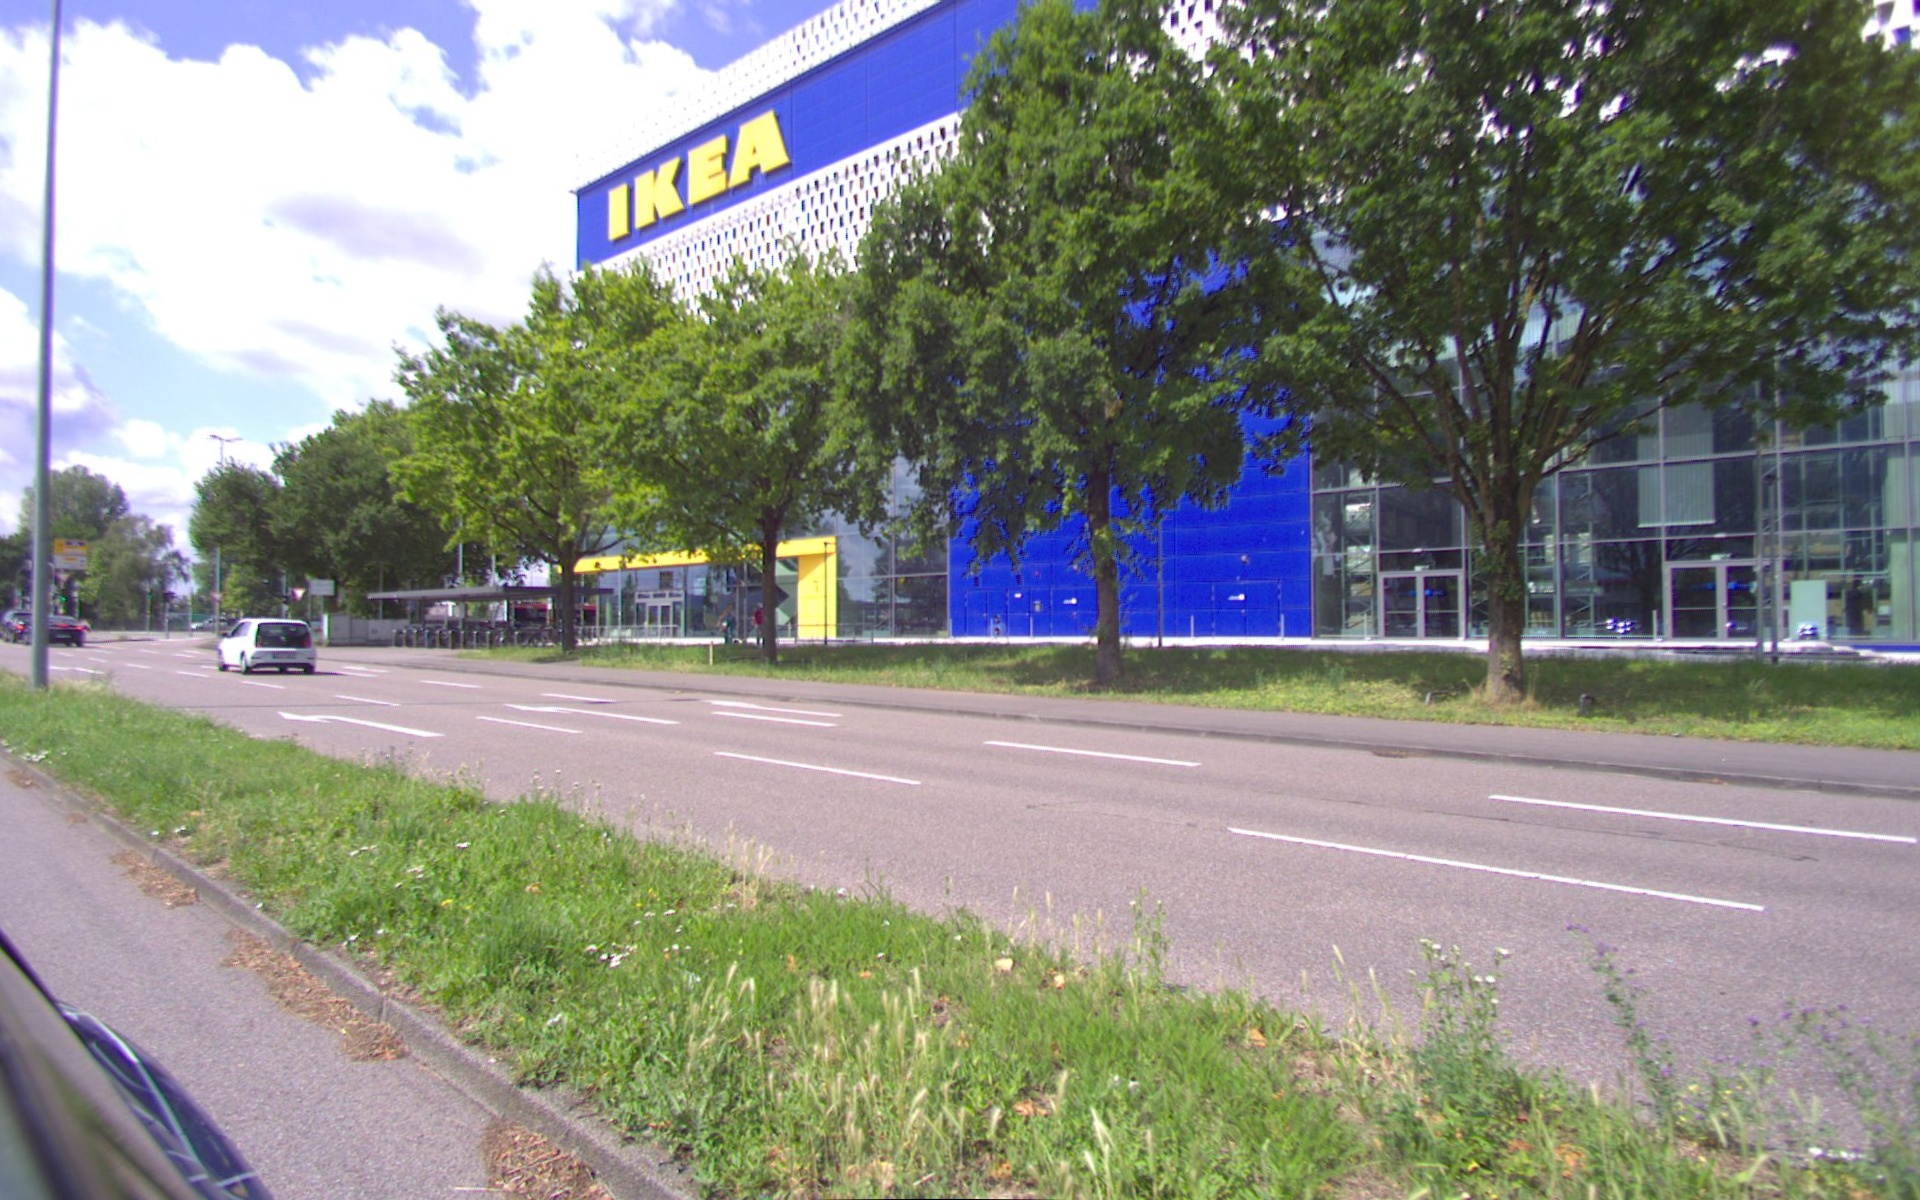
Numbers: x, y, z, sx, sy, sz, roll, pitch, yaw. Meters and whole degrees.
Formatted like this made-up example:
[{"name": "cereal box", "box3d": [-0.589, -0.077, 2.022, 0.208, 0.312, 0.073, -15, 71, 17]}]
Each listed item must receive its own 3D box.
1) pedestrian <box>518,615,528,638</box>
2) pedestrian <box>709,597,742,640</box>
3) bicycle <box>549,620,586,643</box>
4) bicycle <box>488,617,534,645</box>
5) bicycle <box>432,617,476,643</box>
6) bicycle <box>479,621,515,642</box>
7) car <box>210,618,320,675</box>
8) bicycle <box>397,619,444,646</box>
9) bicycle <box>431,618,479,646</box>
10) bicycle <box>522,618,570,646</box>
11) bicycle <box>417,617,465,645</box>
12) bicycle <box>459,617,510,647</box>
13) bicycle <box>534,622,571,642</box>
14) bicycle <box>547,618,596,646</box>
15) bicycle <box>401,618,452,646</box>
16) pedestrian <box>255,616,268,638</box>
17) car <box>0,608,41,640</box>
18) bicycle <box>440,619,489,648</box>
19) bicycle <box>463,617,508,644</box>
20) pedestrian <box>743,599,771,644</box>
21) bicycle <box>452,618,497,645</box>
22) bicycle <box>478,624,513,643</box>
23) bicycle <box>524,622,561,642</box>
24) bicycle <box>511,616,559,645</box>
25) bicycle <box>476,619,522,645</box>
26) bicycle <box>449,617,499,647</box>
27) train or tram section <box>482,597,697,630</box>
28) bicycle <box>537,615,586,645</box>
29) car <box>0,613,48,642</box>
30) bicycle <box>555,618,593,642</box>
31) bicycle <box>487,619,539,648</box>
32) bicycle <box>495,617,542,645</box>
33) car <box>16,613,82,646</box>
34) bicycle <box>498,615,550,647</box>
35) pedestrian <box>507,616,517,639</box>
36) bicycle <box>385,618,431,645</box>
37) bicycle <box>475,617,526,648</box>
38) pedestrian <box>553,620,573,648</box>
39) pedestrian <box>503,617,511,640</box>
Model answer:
[{"name": "pedestrian", "box3d": [-32.255, 1.948, 74.734, 0.408, 1.716, 0.522, -2, -2, 31]}, {"name": "pedestrian", "box3d": [-9.361, 0.726, 40.326, 0.886, 1.715, 0.940, -1, -1, 41]}, {"name": "bicycle", "box3d": [-21.511, 1.696, 55.462, 0.528, 1.219, 1.916, -1, -1, 36]}, {"name": "bicycle", "box3d": [-21.040, 1.460, 47.427, 0.629, 1.282, 1.905, -2, -2, 40]}, {"name": "bicycle", "box3d": [-25.640, 1.496, 51.276, 0.629, 1.282, 1.905, -2, -2, 40]}, {"name": "bicycle", "box3d": [-26.887, 1.826, 58.842, 0.467, 1.181, 1.938, -2, -2, 36]}, {"name": "car", "box3d": [-18.876, 1.225, 27.444, 3.669, 1.440, 1.625, -1, -3, 42]}, {"name": "bicycle", "box3d": [-25.999, 1.546, 48.748, 0.629, 1.282, 1.905, -2, -2, 40]}, {"name": "bicycle", "box3d": [-23.196, 1.464, 46.515, 0.629, 1.282, 1.905, -2, -2, 40]}, {"name": "bicycle", "box3d": [-18.313, 1.415, 44.784, 0.629, 1.188, 1.905, -2, -2, 40]}, {"name": "bicycle", "box3d": [-24.231, 1.447, 47.288, 0.629, 1.282, 1.905, -2, -2, 40]}, {"name": "bicycle", "box3d": [-20.671, 1.386, 44.012, 0.629, 1.282, 1.905, -2, -2, 40]}, {"name": "bicycle", "box3d": [-22.700, 1.773, 56.432, 0.528, 1.078, 1.916, -1, -1, 36]}, {"name": "bicycle", "box3d": [-16.676, 1.373, 43.505, 0.629, 1.193, 1.905, -2, -2, 40]}, {"name": "bicycle", "box3d": [-25.278, 1.521, 47.997, 0.629, 1.282, 2.068, -2, -2, 40]}, {"name": "pedestrian", "box3d": [-47.886, 1.818, 69.370, 0.616, 1.501, 0.435, -1, -1, 24]}, {"name": "car", "box3d": [-53.714, 1.343, 57.424, 3.997, 1.627, 1.752, 1, -3, 40]}, {"name": "bicycle", "box3d": [-22.394, 1.511, 45.784, 0.629, 1.282, 1.905, -2, -2, 40]}, {"name": "bicycle", "box3d": [-22.909, 1.460, 48.894, 0.629, 1.282, 1.905, -2, -2, 40]}, {"name": "pedestrian", "box3d": [-8.409, 0.872, 41.922, 0.886, 1.836, 0.746, -1, -1, 41]}, {"name": "bicycle", "box3d": [-23.873, 1.527, 49.800, 0.629, 1.282, 1.905, -2, -2, 40]}, {"name": "bicycle", "box3d": [-27.443, 1.955, 59.825, 0.528, 1.078, 1.917, 0, -1, 35]}, {"name": "bicycle", "box3d": [-23.498, 1.788, 56.983, 0.519, 1.098, 1.912, -2, -2, 36]}, {"name": "bicycle", "box3d": [-19.213, 1.358, 45.769, 0.629, 1.282, 1.905, -2, -2, 40]}, {"name": "bicycle", "box3d": [-21.853, 1.489, 48.016, 0.629, 1.192, 1.905, -2, -2, 40]}, {"name": "bicycle", "box3d": [-21.624, 1.404, 45.040, 0.629, 1.282, 1.905, -2, -2, 40]}, {"name": "train or tram section", "box3d": [-42.349, 1.708, 118.149, 4.525, 3.055, 24.800, -1, -3, 39]}, {"name": "bicycle", "box3d": [-17.386, 1.288, 44.189, 0.629, 1.282, 1.905, -2, -2, 40]}, {"name": "car", "box3d": [-48.043, 1.385, 51.828, 4.094, 1.402, 1.397, 0, -3, 41]}, {"name": "bicycle", "box3d": [-20.995, 1.628, 55.023, 0.596, 1.253, 1.927, -1, -1, 36]}, {"name": "bicycle", "box3d": [-18.764, 1.404, 42.523, 0.629, 1.192, 1.905, -2, -2, 40]}, {"name": "bicycle", "box3d": [-20.354, 1.419, 46.677, 0.629, 1.282, 1.905, -2, -2, 40]}, {"name": "car", "box3d": [-43.133, 1.385, 47.893, 4.515, 1.432, 1.647, 0, -3, 40]}, {"name": "bicycle", "box3d": [-17.987, 1.287, 41.752, 0.629, 1.282, 1.905, -2, -2, 40]}, {"name": "pedestrian", "box3d": [-32.593, 2.003, 73.635, 0.515, 1.716, 0.405, -2, -2, 35]}, {"name": "bicycle", "box3d": [-27.044, 1.558, 49.597, 0.629, 1.282, 1.905, -2, -2, 40]}, {"name": "bicycle", "box3d": [-19.643, 1.363, 43.271, 0.629, 1.282, 1.905, -2, -2, 40]}, {"name": "pedestrian", "box3d": [-24.616, 2.082, 62.765, 0.710, 1.719, 0.886, -1, -1, 40]}, {"name": "pedestrian", "box3d": [-33.089, 2.074, 73.941, 0.449, 1.716, 0.399, -2, -2, 35]}]
